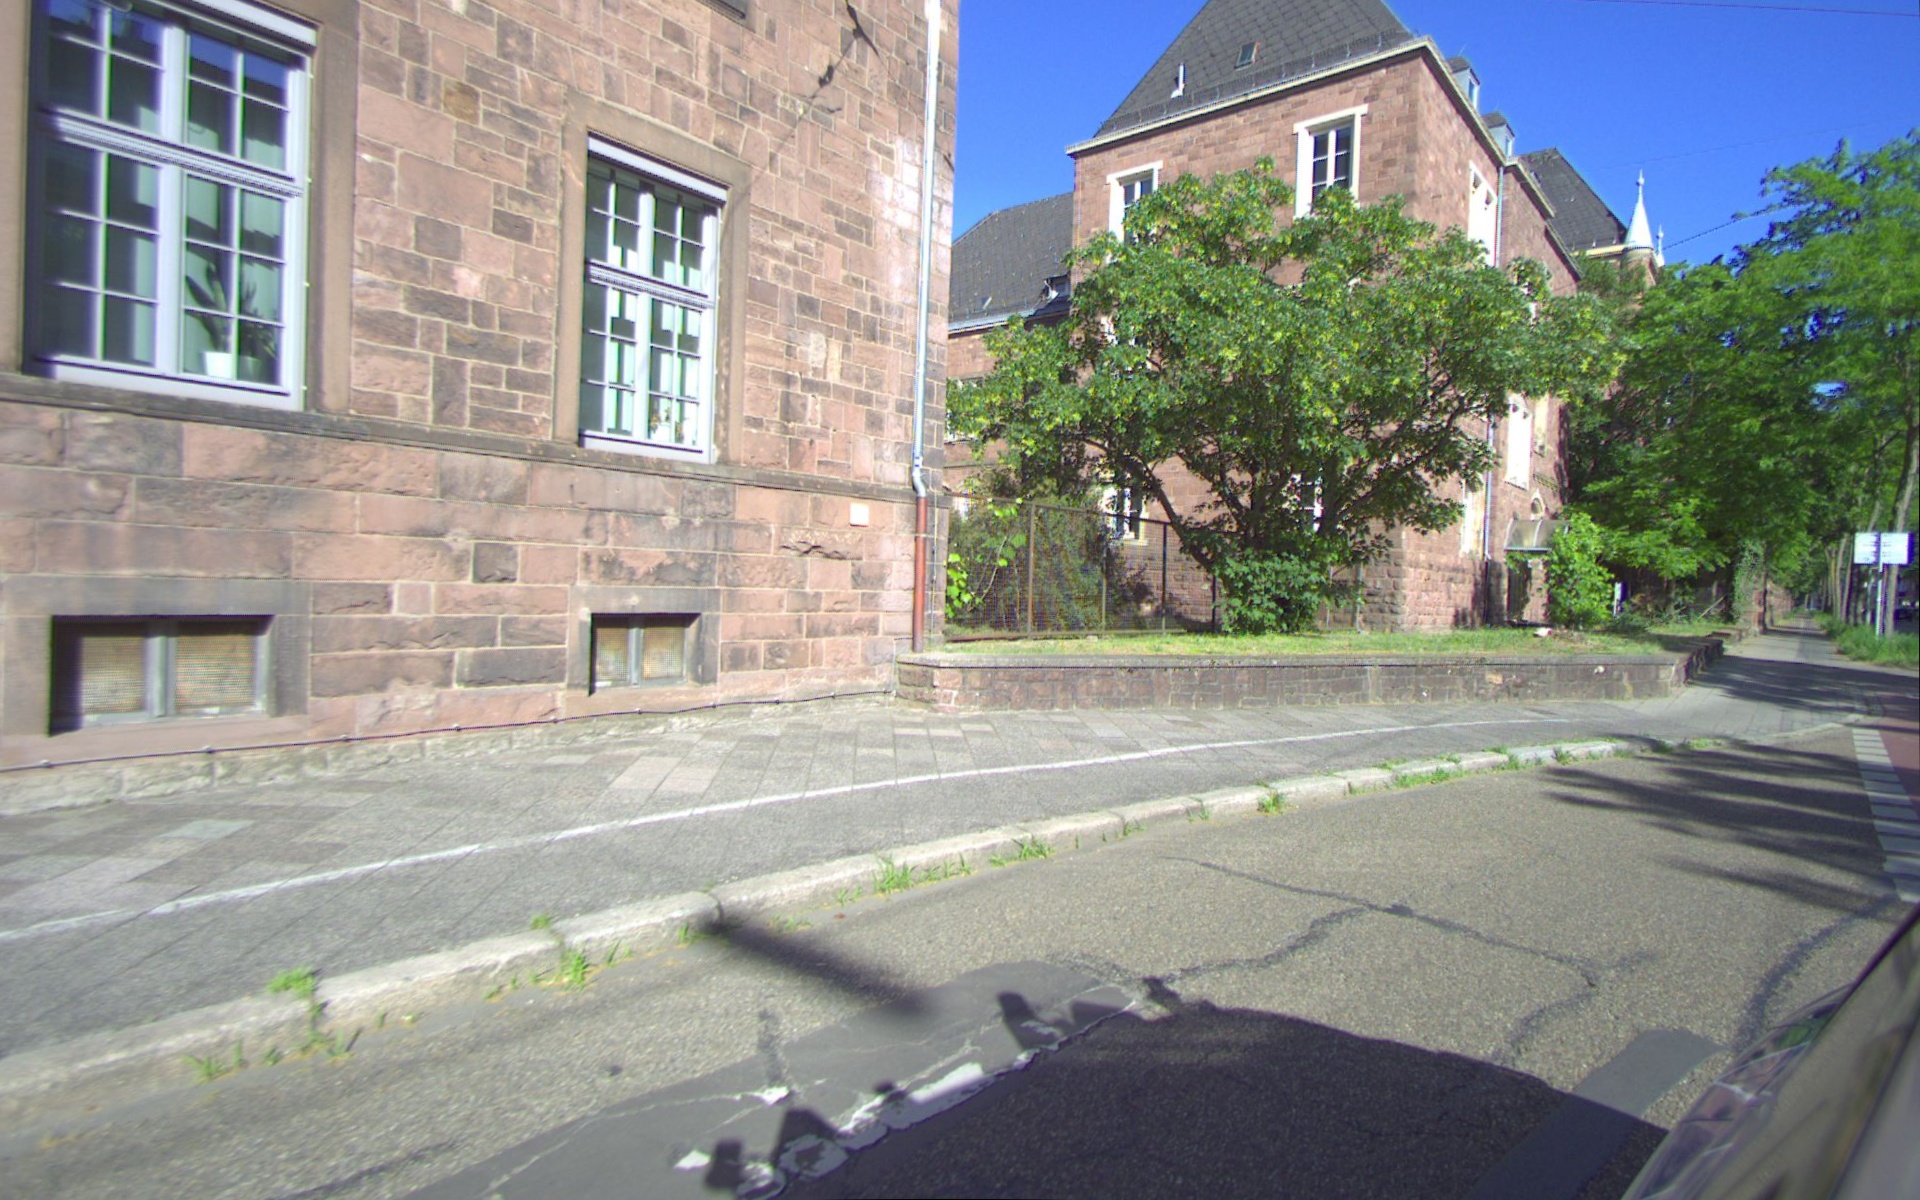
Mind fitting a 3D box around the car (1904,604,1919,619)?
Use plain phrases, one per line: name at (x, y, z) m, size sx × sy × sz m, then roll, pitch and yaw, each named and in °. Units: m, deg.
car at (102.121, 1.247, 107.897) m, size 1.755 × 1.457 × 4.459 m, roll 2°, pitch 1°, yaw 39°
